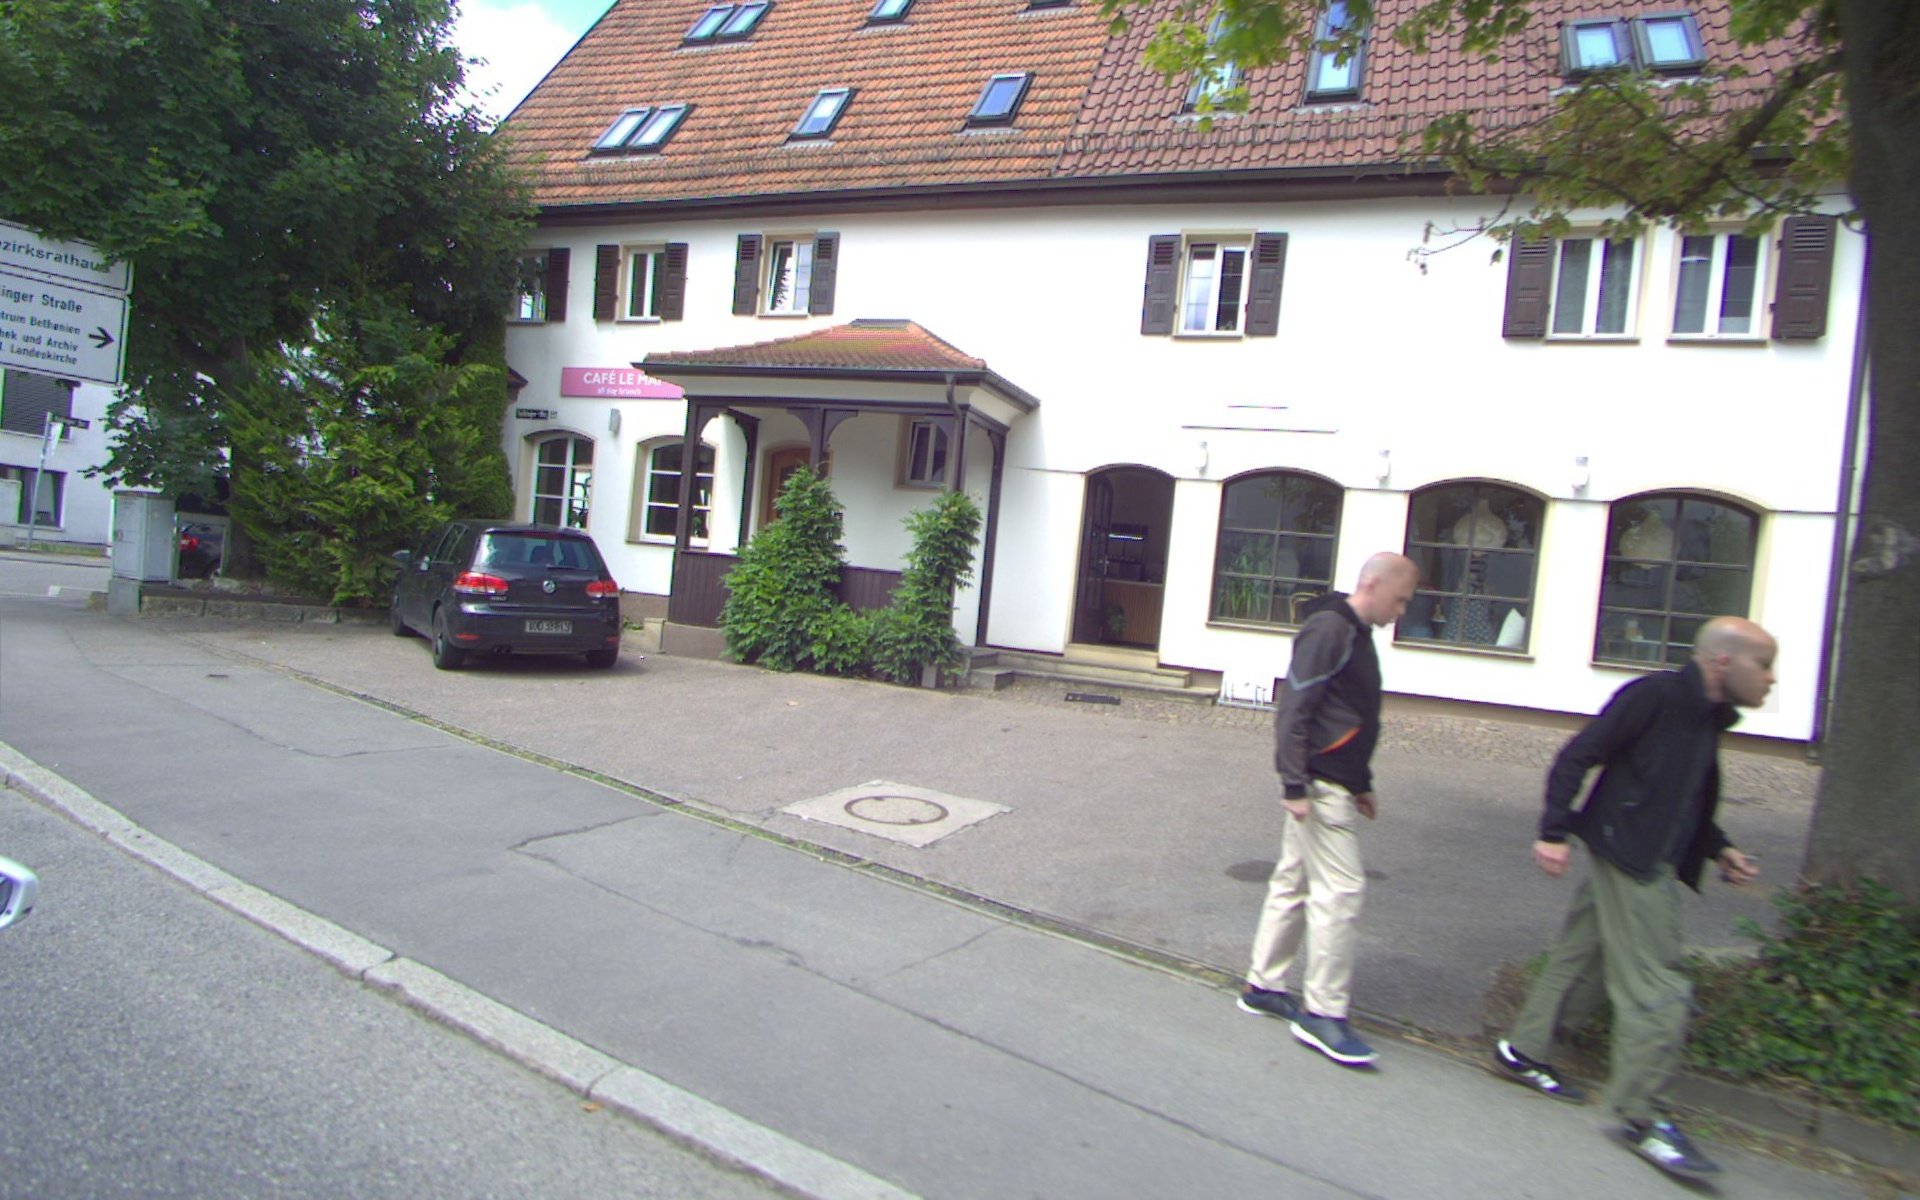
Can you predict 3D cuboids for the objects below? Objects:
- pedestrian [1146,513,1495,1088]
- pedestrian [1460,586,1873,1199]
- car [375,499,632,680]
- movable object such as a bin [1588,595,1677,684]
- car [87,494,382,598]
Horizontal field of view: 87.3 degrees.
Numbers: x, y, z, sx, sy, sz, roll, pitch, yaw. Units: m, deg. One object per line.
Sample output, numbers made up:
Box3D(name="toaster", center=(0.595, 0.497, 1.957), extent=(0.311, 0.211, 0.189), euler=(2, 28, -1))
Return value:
Box3D(name="pedestrian", center=(1.352, 0.647, 3.756), extent=(0.885, 1.805, 0.740), euler=(7, 2, 34))
Box3D(name="pedestrian", center=(2.167, 0.848, 3.181), extent=(0.785, 1.664, 0.785), euler=(7, 2, 34))
Box3D(name="car", center=(-5.223, -0.222, 11.189), extent=(1.740, 1.539, 4.035), euler=(2, 5, -37))
Box3D(name="movable object such as a bin", center=(13.504, 0.744, 20.288), extent=(1.218, 1.576, 2.212), euler=(7, 4, 31))
Box3D(name="car", center=(-12.997, -0.891, 18.388), extent=(1.745, 1.434, 4.184), euler=(8, 2, 12))
